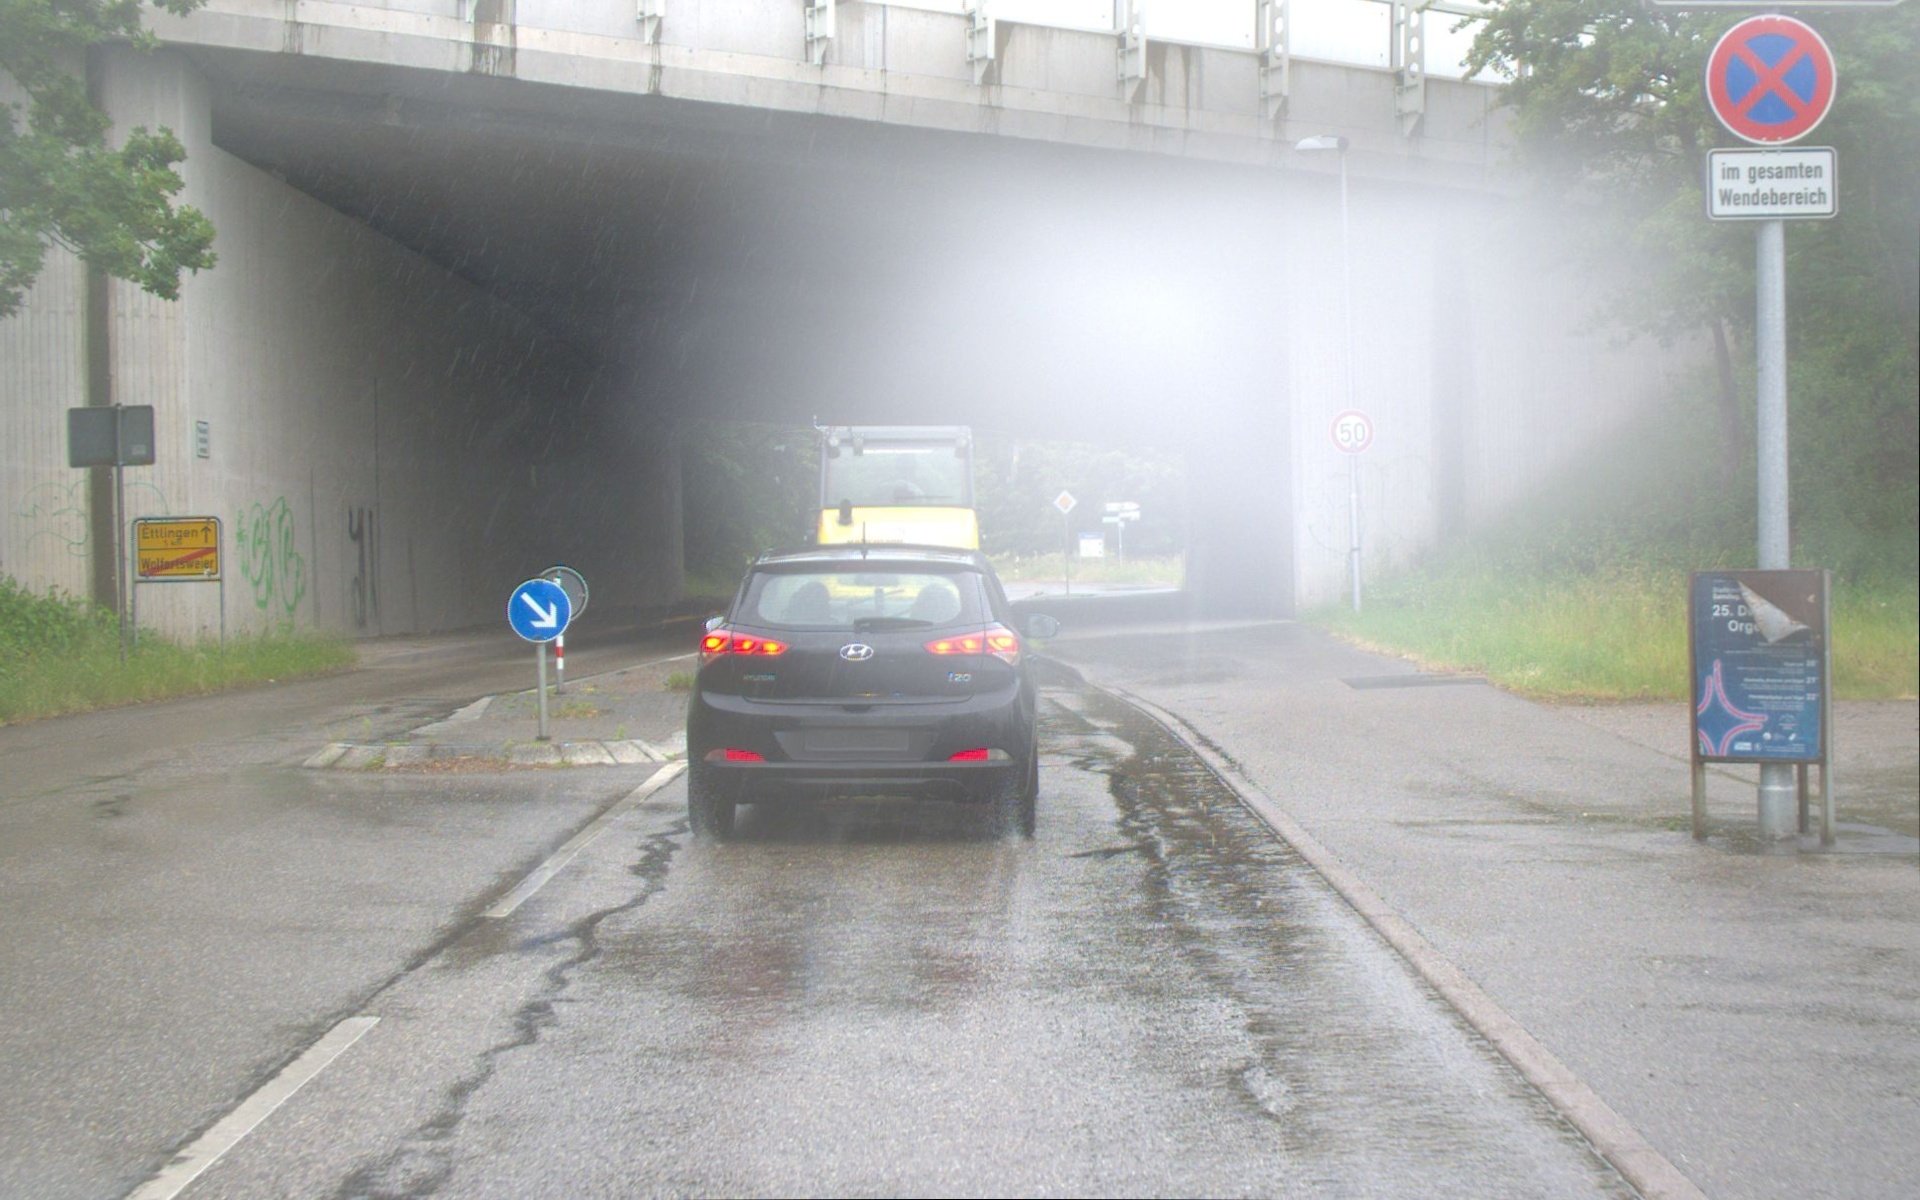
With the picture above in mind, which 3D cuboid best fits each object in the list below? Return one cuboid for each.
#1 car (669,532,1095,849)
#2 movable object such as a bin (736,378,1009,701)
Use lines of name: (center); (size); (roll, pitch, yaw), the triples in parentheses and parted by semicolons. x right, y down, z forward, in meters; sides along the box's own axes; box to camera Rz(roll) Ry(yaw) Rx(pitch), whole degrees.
car: (-0.413, 0.401, 18.233); (1.993, 1.482, 4.000); (1, 1, -1)
movable object such as a bin: (-0.803, -0.547, 31.963); (2.245, 2.660, 6.627); (1, 1, -1)
